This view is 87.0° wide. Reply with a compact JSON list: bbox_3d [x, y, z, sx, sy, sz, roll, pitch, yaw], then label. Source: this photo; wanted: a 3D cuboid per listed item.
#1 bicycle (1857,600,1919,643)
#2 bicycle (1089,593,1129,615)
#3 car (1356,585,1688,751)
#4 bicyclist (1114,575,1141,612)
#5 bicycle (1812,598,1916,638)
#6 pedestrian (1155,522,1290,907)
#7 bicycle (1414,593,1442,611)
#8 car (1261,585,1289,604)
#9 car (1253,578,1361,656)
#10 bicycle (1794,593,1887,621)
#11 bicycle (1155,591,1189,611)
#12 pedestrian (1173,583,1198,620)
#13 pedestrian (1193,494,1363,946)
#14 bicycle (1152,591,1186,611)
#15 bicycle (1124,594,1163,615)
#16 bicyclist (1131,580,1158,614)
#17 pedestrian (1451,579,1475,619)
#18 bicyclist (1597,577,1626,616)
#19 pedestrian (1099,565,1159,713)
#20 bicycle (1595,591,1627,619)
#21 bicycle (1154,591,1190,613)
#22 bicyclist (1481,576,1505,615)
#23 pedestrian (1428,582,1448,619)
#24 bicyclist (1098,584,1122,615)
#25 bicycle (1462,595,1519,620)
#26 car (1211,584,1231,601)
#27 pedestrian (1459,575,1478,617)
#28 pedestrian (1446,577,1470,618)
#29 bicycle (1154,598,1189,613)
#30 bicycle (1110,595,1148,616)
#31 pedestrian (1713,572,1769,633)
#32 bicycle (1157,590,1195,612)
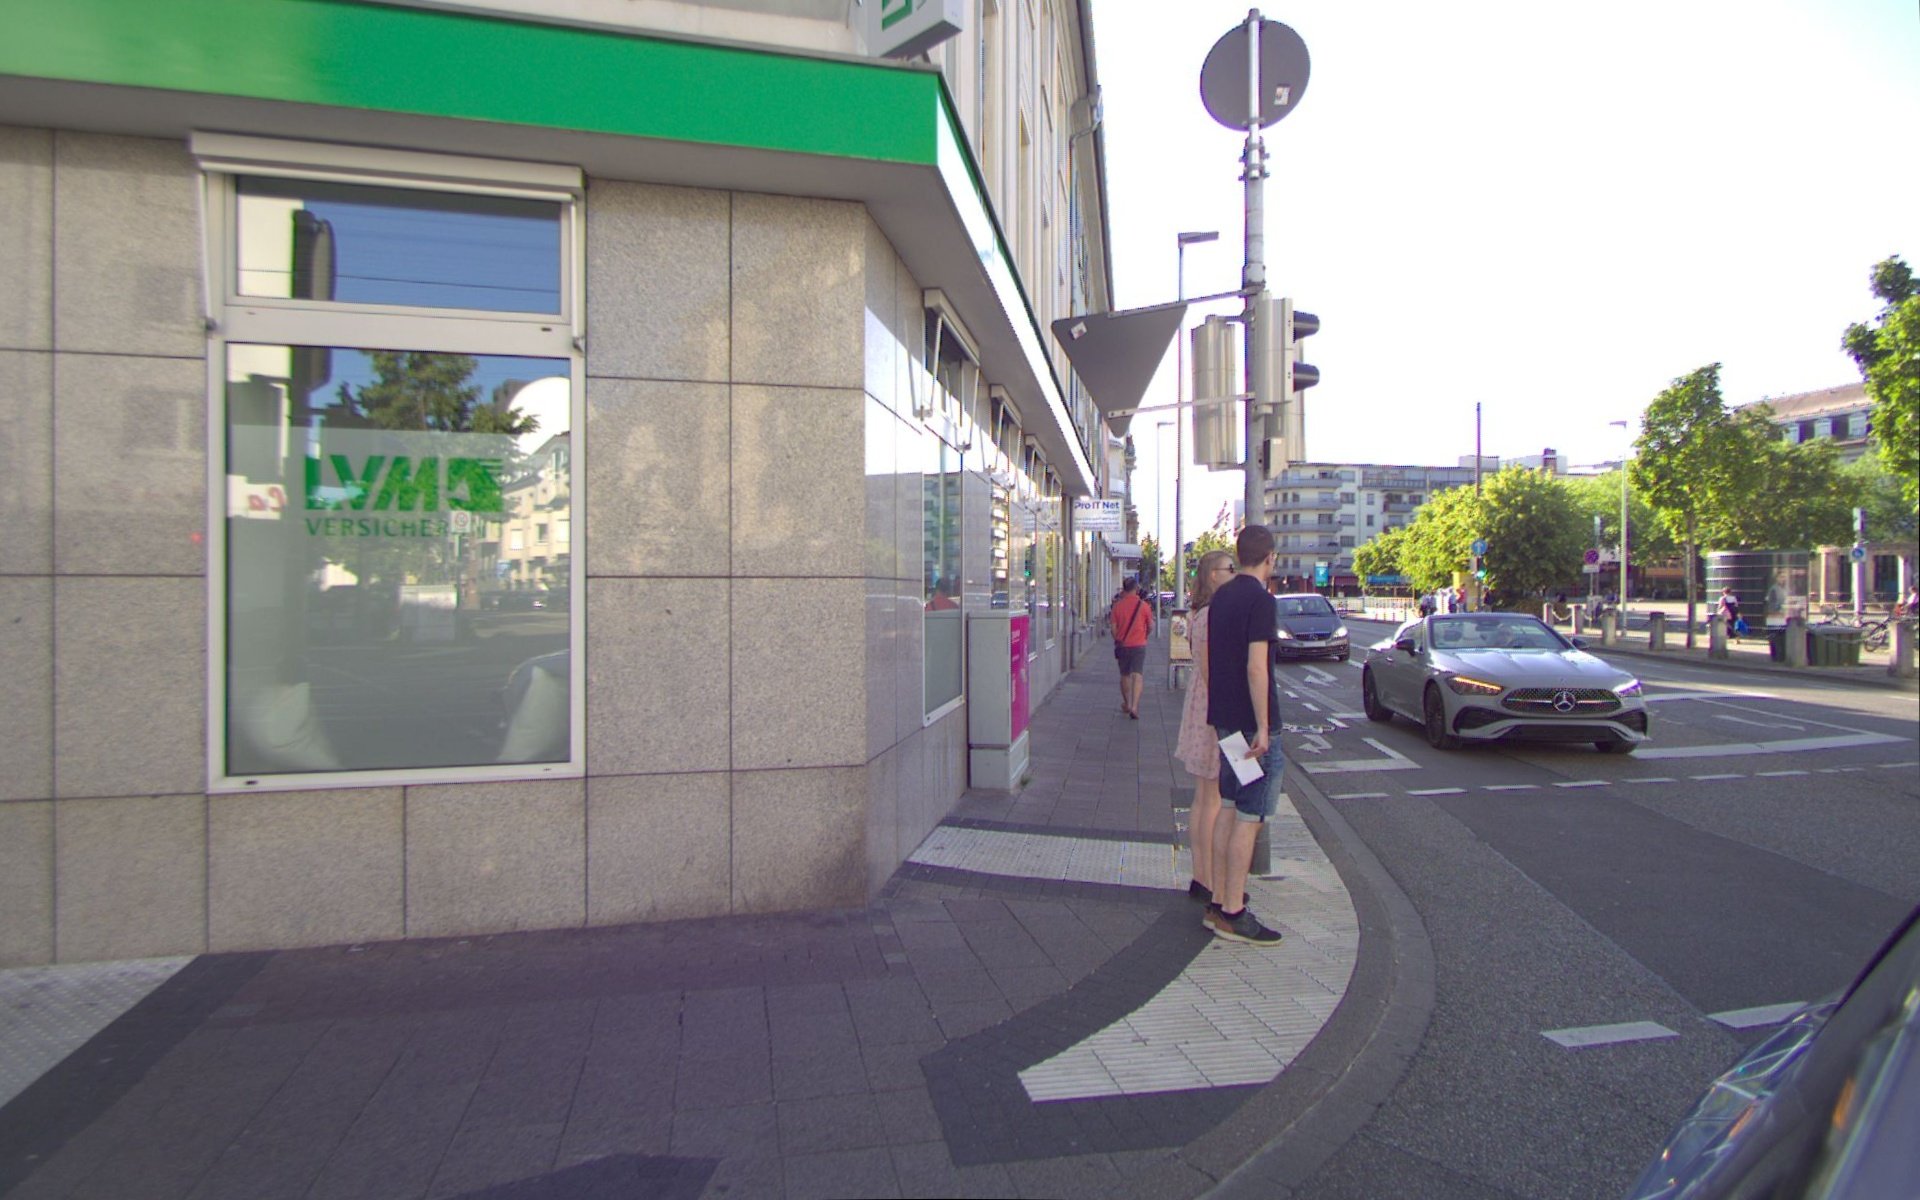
[{"bbox_3d":[23.032,0.510,24.429,1.866,1.015,0.760,-1,0,20],"label":"bicycle"},{"bbox_3d":[7.663,0.191,51.945,1.905,1.110,0.725,-1,0,33],"label":"bicycle"},{"bbox_3d":[5.976,0.618,11.449,1.881,1.480,4.351,-2,0,10],"label":"car"},{"bbox_3d":[8.377,-0.321,50.519,1.118,1.783,0.754,-1,0,-11],"label":"bicyclist"},{"bbox_3d":[23.955,0.472,26.855,1.866,1.015,0.760,-1,0,20],"label":"bicycle"},{"bbox_3d":[1.285,0.530,5.052,0.565,1.781,0.647,-1,0,10],"label":"pedestrian"},{"bbox_3d":[27.561,0.123,59.590,1.516,1.044,0.361,-1,0,26],"label":"bicycle"},{"bbox_3d":[26.056,-0.441,83.905,1.630,1.414,4.031,5,2,10],"label":"car"},{"bbox_3d":[8.467,0.368,25.026,1.968,1.749,3.987,0,0,11],"label":"car"},{"bbox_3d":[33.475,0.262,38.524,2.556,1.020,0.775,0,0,34],"label":"bicycle"},{"bbox_3d":[12.879,0.043,61.560,1.996,1.164,0.713,0,0,12],"label":"bicycle"},{"bbox_3d":[10.329,0.058,46.341,0.753,1.679,0.814,-1,0,-43],"label":"pedestrian"},{"bbox_3d":[1.402,0.494,4.573,0.631,1.865,0.679,0,0,10],"label":"pedestrian"},{"bbox_3d":[12.929,0.074,62.638,2.019,1.196,0.681,0,0,12],"label":"bicycle"},{"bbox_3d":[9.309,0.239,51.402,1.905,1.032,0.552,-1,0,39],"label":"bicycle"},{"bbox_3d":[9.366,-0.157,51.262,1.126,1.706,0.716,-1,0,39],"label":"bicyclist"},{"bbox_3d":[23.195,-0.066,46.684,0.578,1.834,0.784,-1,0,-33],"label":"pedestrian"},{"bbox_3d":[27.733,-0.134,43.123,0.935,1.629,1.158,-1,0,29],"label":"bicyclist"},{"bbox_3d":[2.082,0.452,12.379,0.681,1.724,0.909,1,0,12],"label":"pedestrian"},{"bbox_3d":[27.746,0.201,43.154,0.935,1.147,2.454,0,0,28],"label":"bicycle"},{"bbox_3d":[12.086,0.115,57.827,1.913,1.227,0.932,0,0,6],"label":"bicycle"},{"bbox_3d":[23.131,-0.193,43.913,0.799,1.669,0.982,-1,0,33],"label":"bicyclist"},{"bbox_3d":[22.245,0.036,47.082,0.685,1.695,0.687,-1,0,42],"label":"pedestrian"},{"bbox_3d":[7.683,-0.017,51.857,1.023,1.603,0.718,-1,0,33],"label":"bicyclist"},{"bbox_3d":[23.070,0.331,44.012,2.159,1.085,0.755,-1,0,33],"label":"bicycle"},{"bbox_3d":[32.582,-0.986,126.284,1.968,1.971,4.770,2,1,9],"label":"car"},{"bbox_3d":[23.879,-0.184,47.540,0.600,1.942,0.781,-1,0,12],"label":"pedestrian"},{"bbox_3d":[22.683,-0.120,46.071,0.577,1.834,0.785,-1,0,-15],"label":"pedestrian"},{"bbox_3d":[12.016,0.307,57.531,1.816,0.842,0.740,0,0,6],"label":"bicycle"},{"bbox_3d":[8.427,0.289,50.543,1.784,1.006,0.565,-1,0,-11],"label":"bicycle"},{"bbox_3d":[22.566,0.082,29.274,0.889,1.719,1.081,-1,0,14],"label":"pedestrian"},{"bbox_3d":[12.570,0.074,59.000,2.106,1.260,0.709,0,0,7],"label":"bicycle"}]
